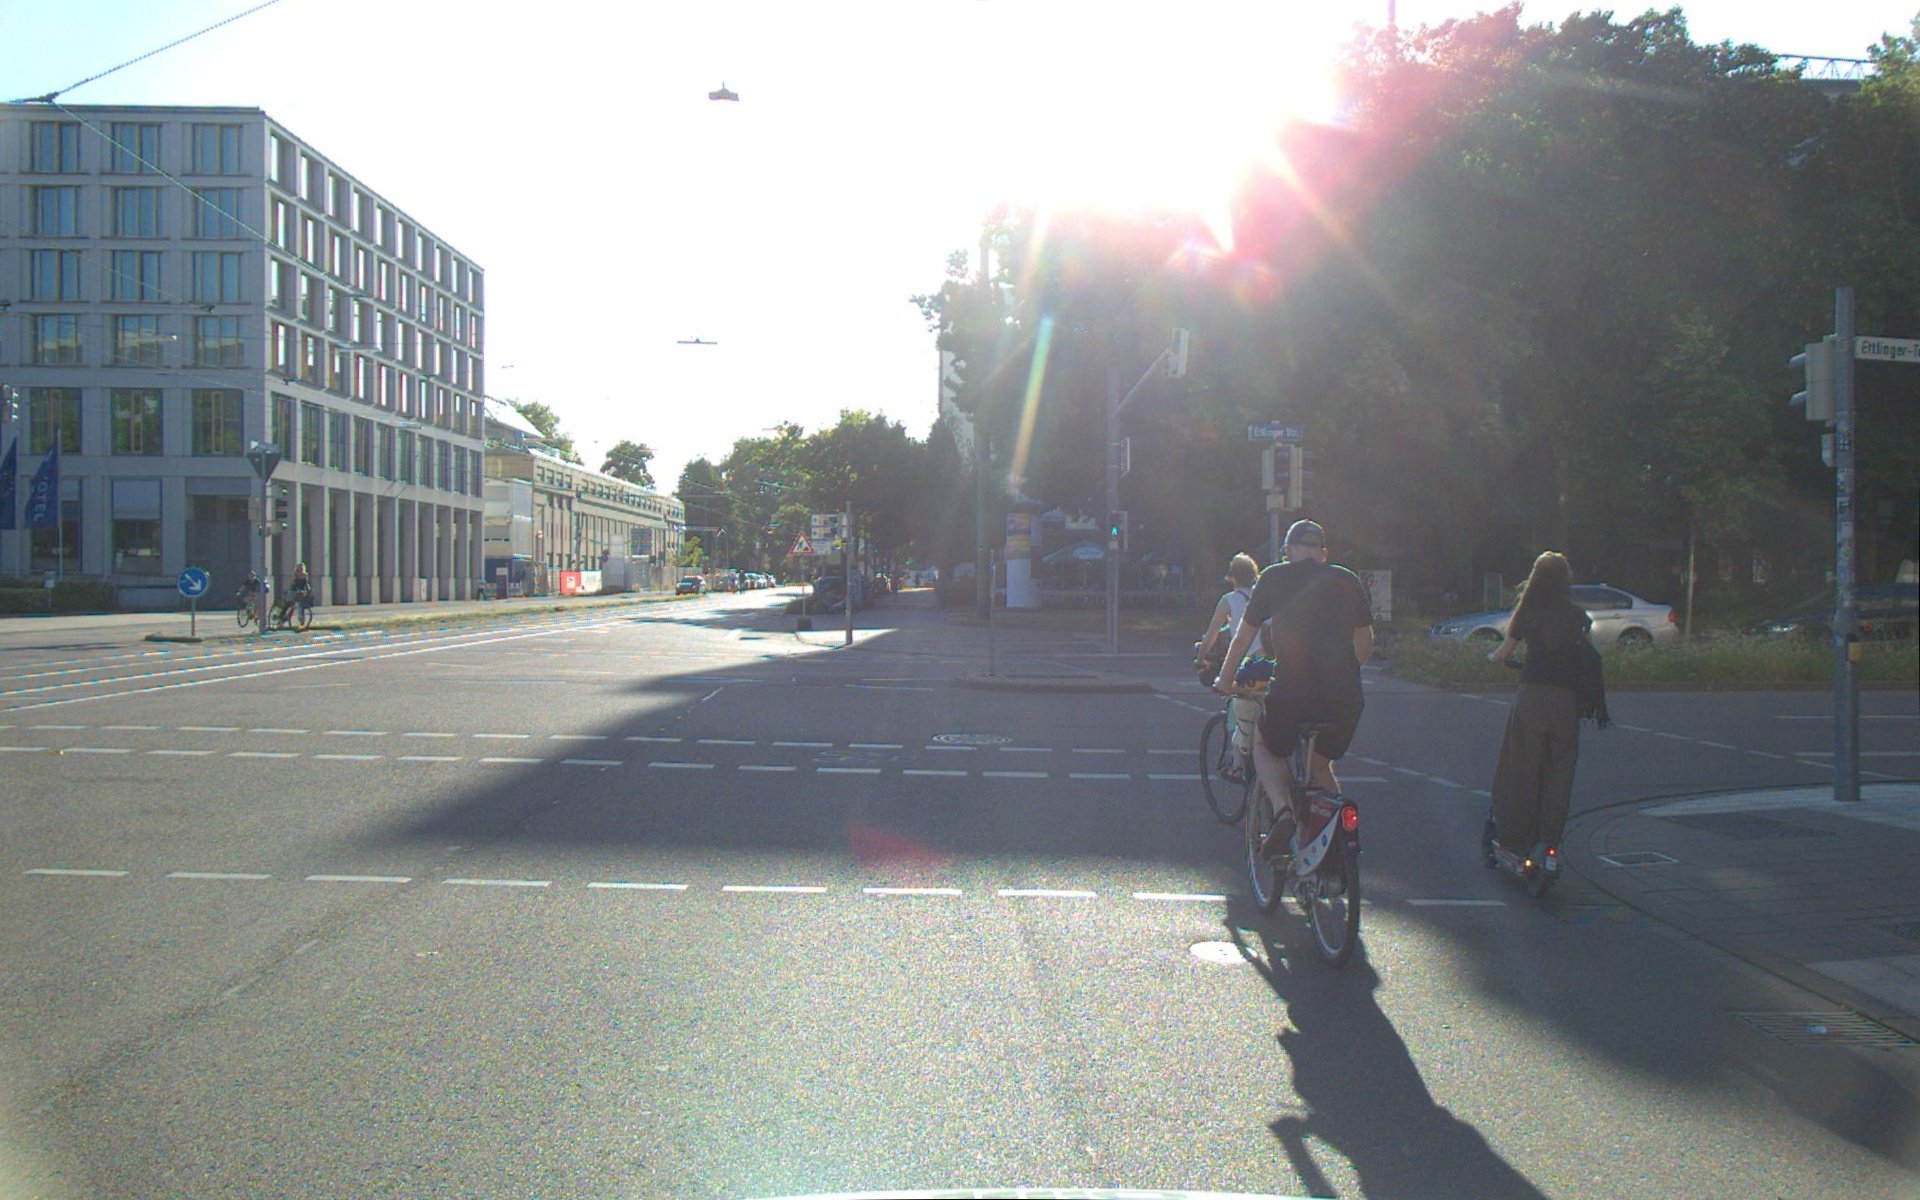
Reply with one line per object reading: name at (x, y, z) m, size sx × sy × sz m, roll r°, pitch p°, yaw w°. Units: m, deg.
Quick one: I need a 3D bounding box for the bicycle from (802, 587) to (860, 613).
bicycle at (-4.984, 0.001, 63.988) m, size 2.201 × 0.956 × 0.653 m, roll 0°, pitch 0°, yaw -6°

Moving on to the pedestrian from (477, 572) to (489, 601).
pedestrian at (-32.240, -0.890, 111.789) m, size 0.575 × 1.922 × 0.478 m, roll 1°, pitch 0°, yaw 17°

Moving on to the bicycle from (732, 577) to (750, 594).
bicycle at (-17.031, -1.121, 128.873) m, size 0.735 × 1.226 × 3.110 m, roll 1°, pitch 0°, yaw 5°

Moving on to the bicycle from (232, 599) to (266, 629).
bicycle at (-21.290, 0.417, 49.523) m, size 0.484 × 0.854 × 1.156 m, roll 0°, pitch 1°, yaw 2°

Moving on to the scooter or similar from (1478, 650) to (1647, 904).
scooter or similar at (3.143, 0.883, 8.723) m, size 0.561 × 1.169 × 1.273 m, roll 2°, pitch 1°, yaw 8°

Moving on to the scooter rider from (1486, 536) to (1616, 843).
scooter rider at (3.160, 0.459, 8.875) m, size 0.533 × 1.590 × 0.577 m, roll 0°, pitch 0°, yaw 6°

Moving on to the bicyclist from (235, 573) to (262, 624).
bicyclist at (-21.299, -0.042, 49.531) m, size 0.484 × 1.524 × 0.666 m, roll 0°, pitch 0°, yaw 2°

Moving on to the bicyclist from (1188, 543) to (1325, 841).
bicyclist at (1.835, 0.541, 10.333) m, size 0.573 × 1.768 × 0.948 m, roll 0°, pitch 0°, yaw -8°

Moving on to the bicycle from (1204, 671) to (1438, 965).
bicycle at (1.556, 0.897, 7.405) m, size 0.610 × 1.062 × 1.746 m, roll 0°, pitch 1°, yaw -2°

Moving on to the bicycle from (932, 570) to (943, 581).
bicycle at (-2.690, -2.914, 197.253) m, size 0.875 × 1.240 × 2.785 m, roll 1°, pitch 0°, yaw -12°

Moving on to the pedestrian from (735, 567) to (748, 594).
pedestrian at (-17.031, -1.503, 128.939) m, size 0.735 × 2.099 × 1.050 m, roll 1°, pitch 0°, yaw 4°

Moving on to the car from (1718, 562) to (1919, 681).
car at (16.272, 0.386, 30.253) m, size 3.905 × 2.049 × 2.000 m, roll 1°, pitch 0°, yaw 0°

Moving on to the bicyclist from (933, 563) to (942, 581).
bicyclist at (-2.653, -3.323, 197.154) m, size 0.875 × 2.049 × 0.746 m, roll 1°, pitch 0°, yaw -12°

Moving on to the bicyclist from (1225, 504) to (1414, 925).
bicyclist at (1.567, 0.470, 7.331) m, size 0.610 × 1.745 × 0.912 m, roll 0°, pitch 0°, yaw -2°

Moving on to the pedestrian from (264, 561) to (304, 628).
pedestrian at (-16.639, -0.132, 40.727) m, size 0.727 × 1.623 × 0.573 m, roll 0°, pitch 0°, yaw 26°

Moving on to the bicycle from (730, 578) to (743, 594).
bicycle at (-18.253, -1.121, 134.917) m, size 0.735 × 1.226 × 3.107 m, roll 1°, pitch 0°, yaw -2°

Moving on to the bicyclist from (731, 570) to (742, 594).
bicyclist at (-18.252, -1.477, 135.005) m, size 0.735 × 1.953 × 1.214 m, roll 1°, pitch 0°, yaw -2°

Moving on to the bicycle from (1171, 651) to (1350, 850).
bicycle at (1.840, 0.891, 10.374) m, size 0.571 × 1.062 × 1.743 m, roll 0°, pitch 1°, yaw -9°

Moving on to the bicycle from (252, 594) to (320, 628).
bicycle at (-16.598, 0.266, 40.716) m, size 1.679 × 0.837 × 0.573 m, roll 0°, pitch 1°, yaw 27°

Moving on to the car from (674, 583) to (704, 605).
car at (-21.664, -0.492, 132.287) m, size 1.954 × 1.627 × 3.998 m, roll 0°, pitch 1°, yaw -3°

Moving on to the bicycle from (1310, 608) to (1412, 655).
bicycle at (8.077, 0.624, 33.358) m, size 1.902 × 0.905 × 0.718 m, roll 1°, pitch 0°, yaw 5°

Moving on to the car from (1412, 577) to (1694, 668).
car at (10.893, 0.397, 30.597) m, size 4.483 × 1.543 × 2.000 m, roll 1°, pitch 0°, yaw -1°

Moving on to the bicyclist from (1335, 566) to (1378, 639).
bicyclist at (7.999, 0.048, 33.361) m, size 0.731 × 1.430 × 0.702 m, roll 1°, pitch 0°, yaw 6°

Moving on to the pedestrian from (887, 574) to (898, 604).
pedestrian at (-3.842, -0.643, 94.390) m, size 0.566 × 1.719 × 0.584 m, roll 0°, pitch 0°, yaw -8°
